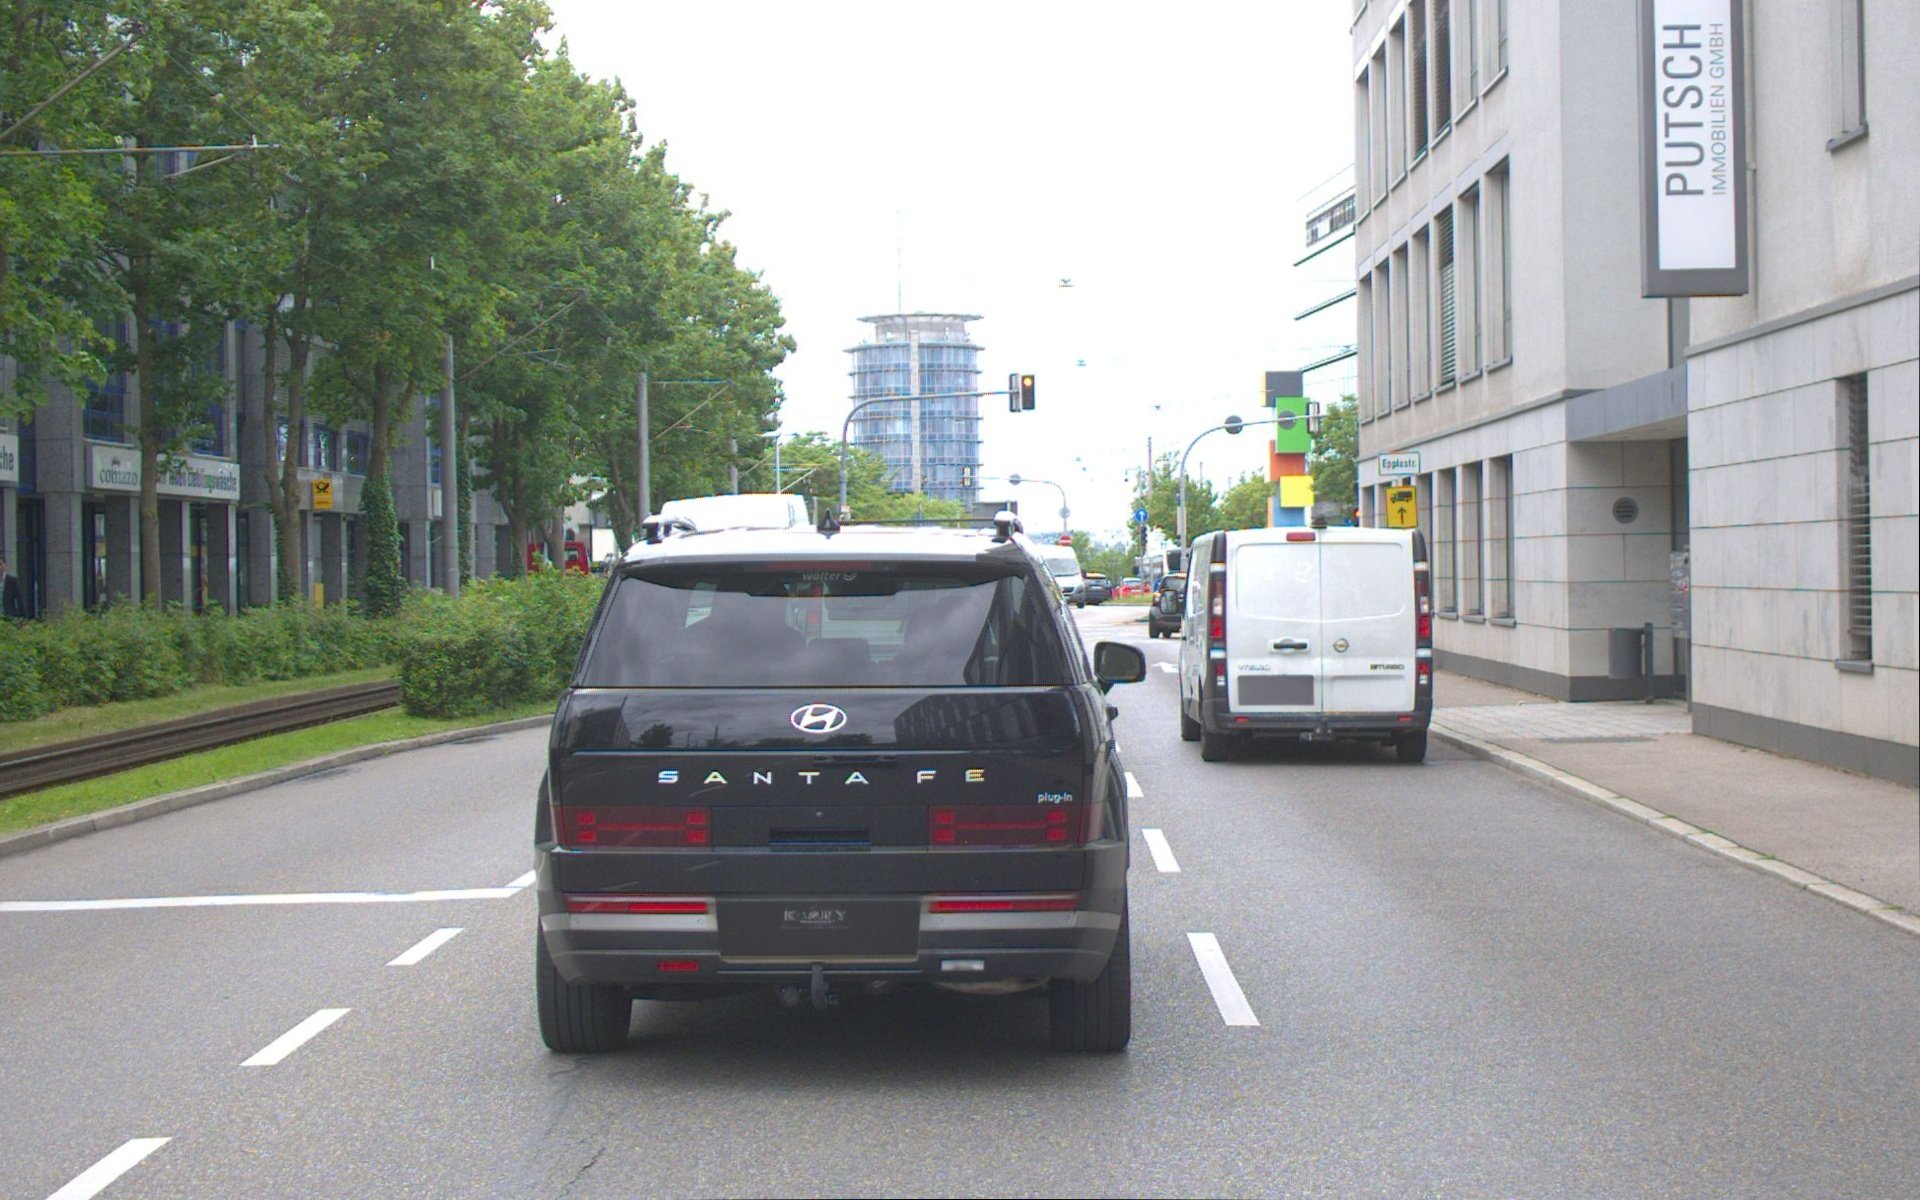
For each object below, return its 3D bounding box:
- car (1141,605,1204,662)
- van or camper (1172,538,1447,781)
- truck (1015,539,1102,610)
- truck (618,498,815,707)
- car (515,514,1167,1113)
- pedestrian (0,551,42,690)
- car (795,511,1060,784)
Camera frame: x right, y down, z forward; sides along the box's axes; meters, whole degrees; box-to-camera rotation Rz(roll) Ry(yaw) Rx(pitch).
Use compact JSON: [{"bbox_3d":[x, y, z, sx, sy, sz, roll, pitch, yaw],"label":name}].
[{"bbox_3d":[6.126,0.947,98.965,1.760,1.603,4.187,0,0,4],"label":"car"},{"bbox_3d":[2.920,0.474,29.571,1.993,1.909,4.331,1,0,1],"label":"van or camper"},{"bbox_3d":[3.909,-0.973,137.619,2.331,2.738,6.488,-1,0,-9],"label":"truck"},{"bbox_3d":[-3.171,0.037,45.897,2.165,2.607,5.796,0,0,0],"label":"truck"},{"bbox_3d":[-0.497,0.636,12.273,1.908,1.743,4.397,0,0,-4],"label":"car"},{"bbox_3d":[-13.195,0.290,47.709,0.675,1.902,0.622,-2,-1,2],"label":"pedestrian"},{"bbox_3d":[-0.329,0.349,27.371,1.931,1.987,4.535,0,0,-2],"label":"car"}]
